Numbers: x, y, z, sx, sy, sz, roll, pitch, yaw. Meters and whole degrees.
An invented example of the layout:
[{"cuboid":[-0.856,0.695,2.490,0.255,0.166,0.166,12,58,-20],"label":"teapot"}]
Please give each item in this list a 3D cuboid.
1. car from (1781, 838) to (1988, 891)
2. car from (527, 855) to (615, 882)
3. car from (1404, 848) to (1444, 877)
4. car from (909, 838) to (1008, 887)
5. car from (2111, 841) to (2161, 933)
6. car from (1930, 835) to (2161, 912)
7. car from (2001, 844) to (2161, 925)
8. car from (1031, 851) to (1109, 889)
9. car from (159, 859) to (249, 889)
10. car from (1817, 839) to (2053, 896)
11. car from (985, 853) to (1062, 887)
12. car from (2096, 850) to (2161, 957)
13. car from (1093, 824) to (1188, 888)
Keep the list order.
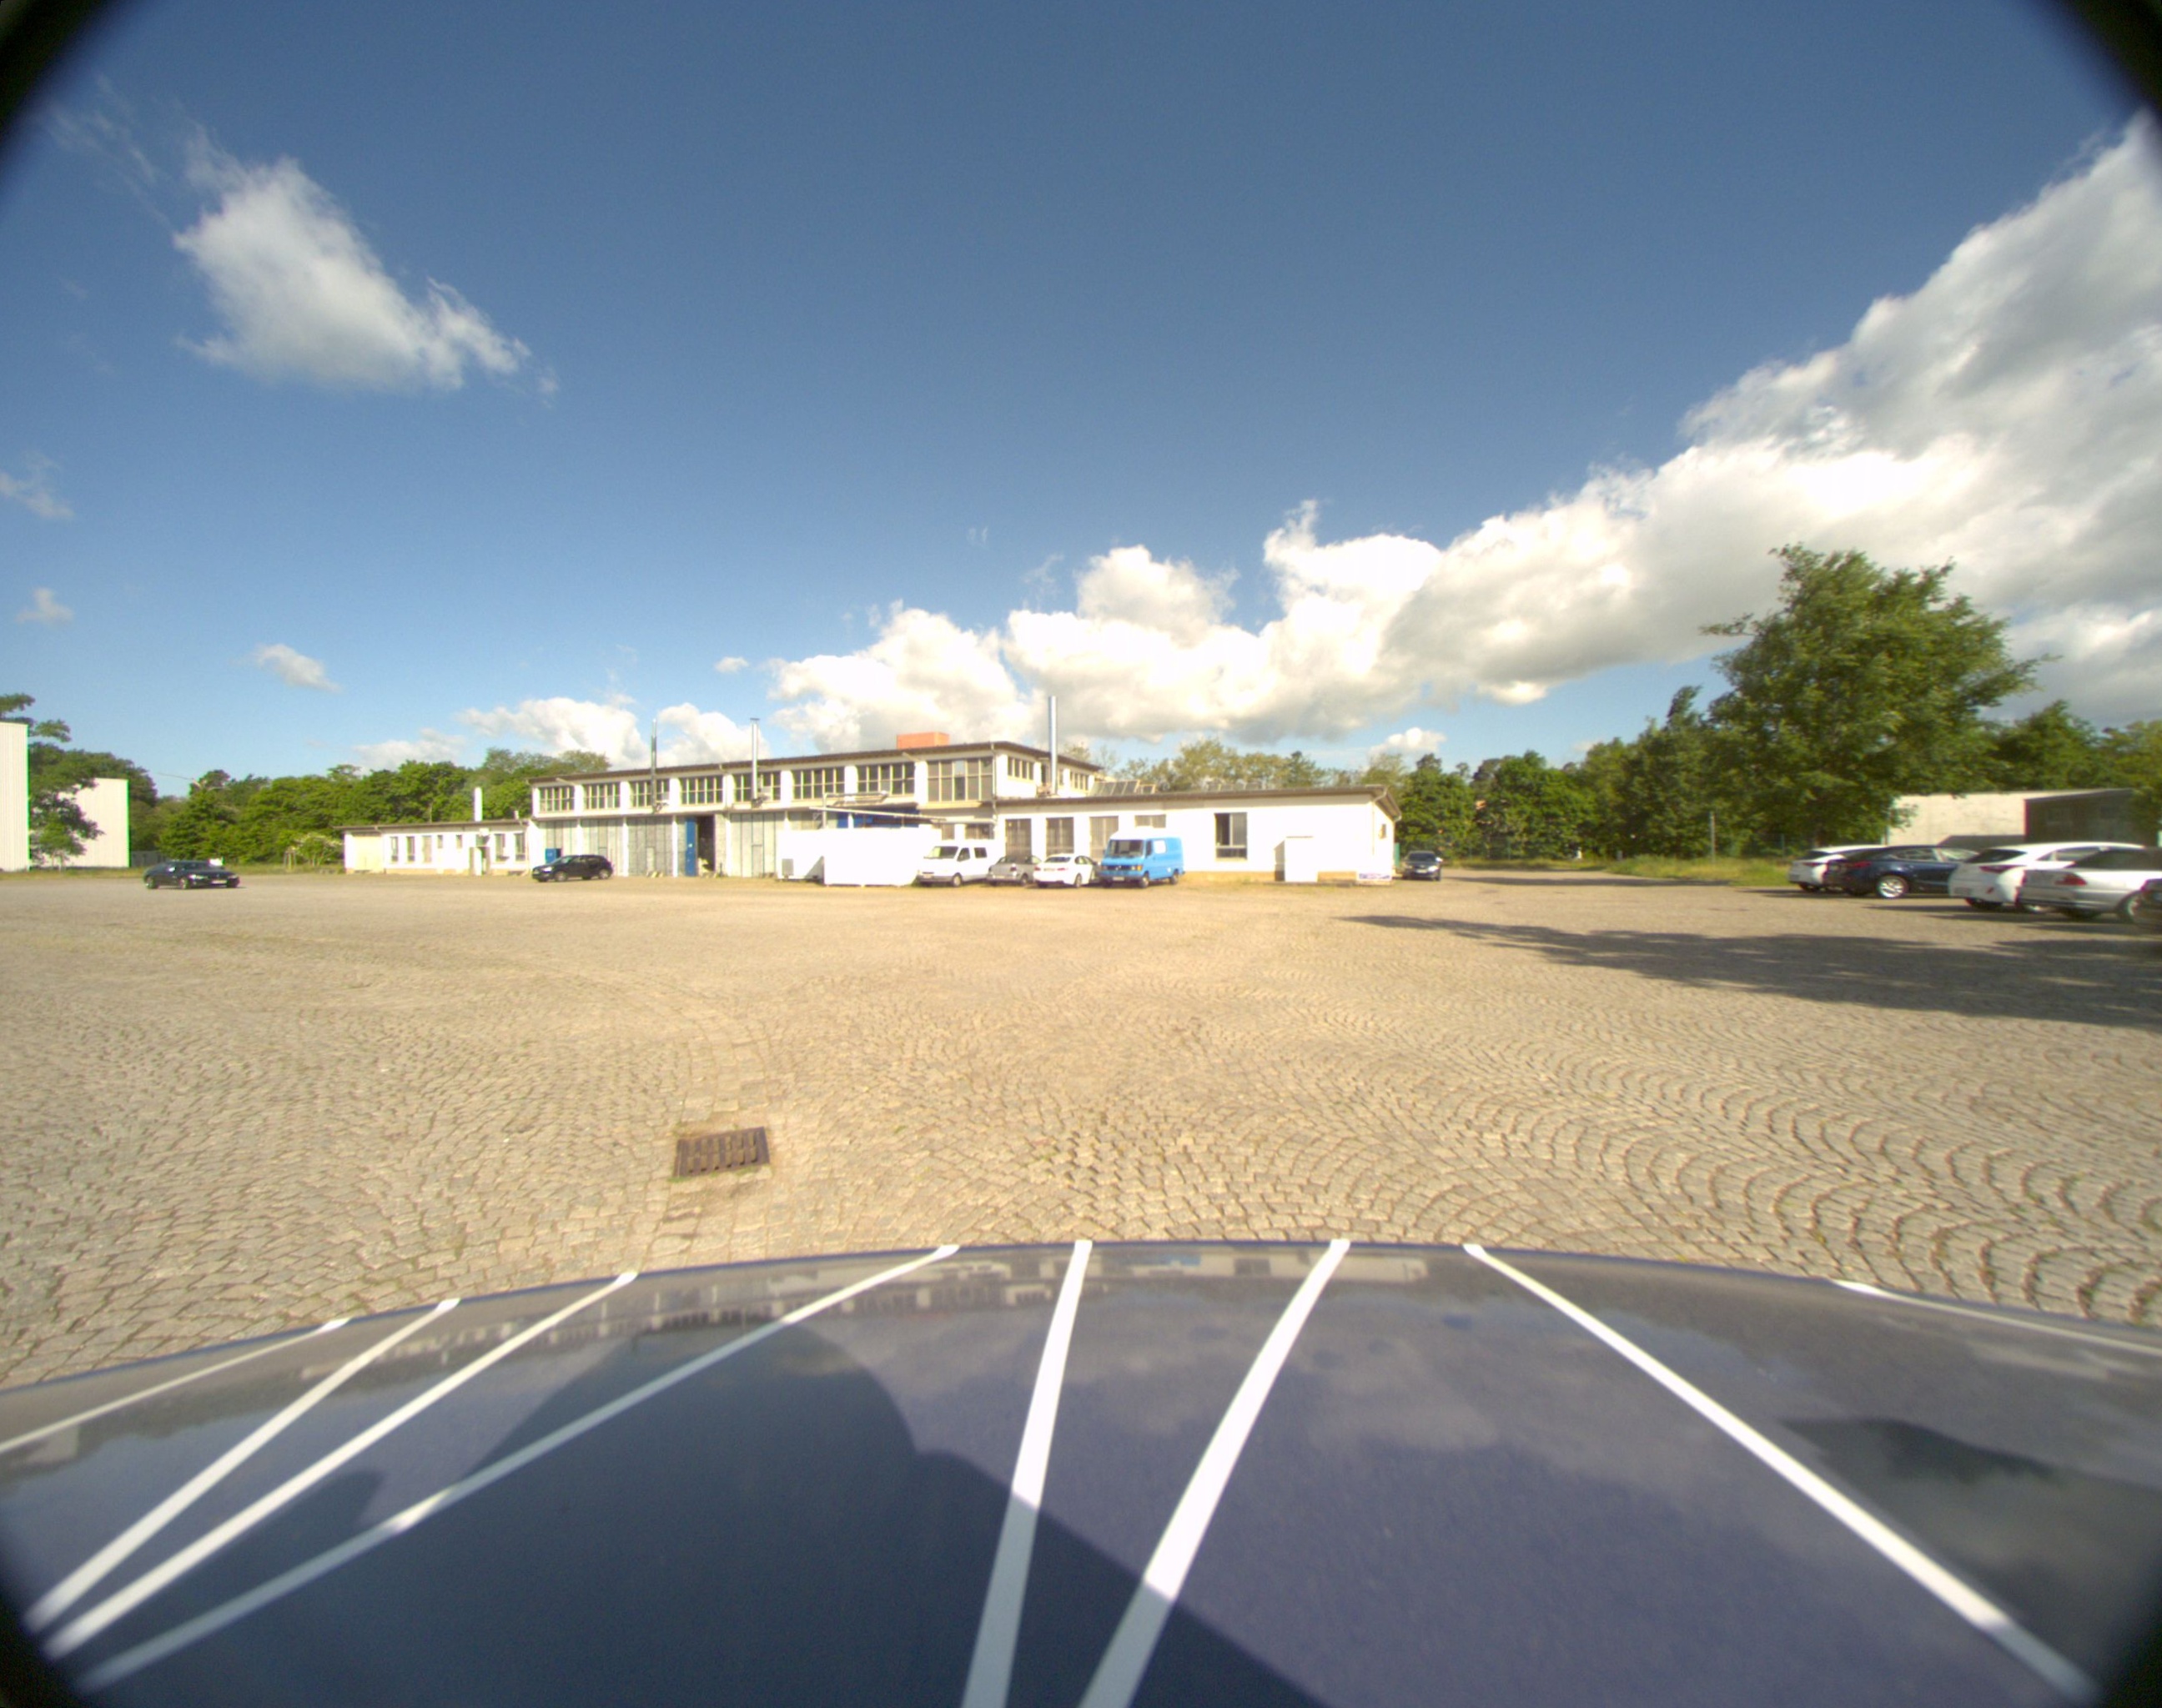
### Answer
[{"cuboid":[24.248,0.330,23.146,3.915,1.427,1.799,-2,0,25],"label":"car"},{"cuboid":[-30.786,0.830,46.012,1.736,1.461,4.082,-1,1,23],"label":"car"},{"cuboid":[17.427,0.391,38.582,1.765,1.427,3.999,0,1,25],"label":"car"},{"cuboid":[-5.552,0.345,35.086,2.004,2.069,4.813,0,1,27],"label":"car"},{"cuboid":[19.170,0.465,11.347,4.141,1.451,1.694,-2,0,30],"label":"car"},{"cuboid":[21.054,0.403,15.964,3.915,1.438,1.758,-2,2,25],"label":"car"},{"cuboid":[19.893,0.512,13.637,3.915,1.364,1.731,-2,0,25],"label":"car"},{"cuboid":[-0.397,0.646,32.481,1.733,1.397,3.744,-1,1,27],"label":"car"},{"cuboid":[-43.860,0.987,38.003,4.066,1.421,1.743,-1,0,22],"label":"car"},{"cuboid":[23.112,0.373,20.791,3.915,1.409,1.695,-2,0,25],"label":"car"},{"cuboid":[-2.546,0.676,34.518,1.688,1.390,3.838,0,1,27],"label":"car"},{"cuboid":[16.776,0.601,9.436,4.723,1.414,1.760,-2,0,24],"label":"car"},{"cuboid":[2.660,0.016,32.327,2.084,2.469,5.247,0,1,27],"label":"car"}]
